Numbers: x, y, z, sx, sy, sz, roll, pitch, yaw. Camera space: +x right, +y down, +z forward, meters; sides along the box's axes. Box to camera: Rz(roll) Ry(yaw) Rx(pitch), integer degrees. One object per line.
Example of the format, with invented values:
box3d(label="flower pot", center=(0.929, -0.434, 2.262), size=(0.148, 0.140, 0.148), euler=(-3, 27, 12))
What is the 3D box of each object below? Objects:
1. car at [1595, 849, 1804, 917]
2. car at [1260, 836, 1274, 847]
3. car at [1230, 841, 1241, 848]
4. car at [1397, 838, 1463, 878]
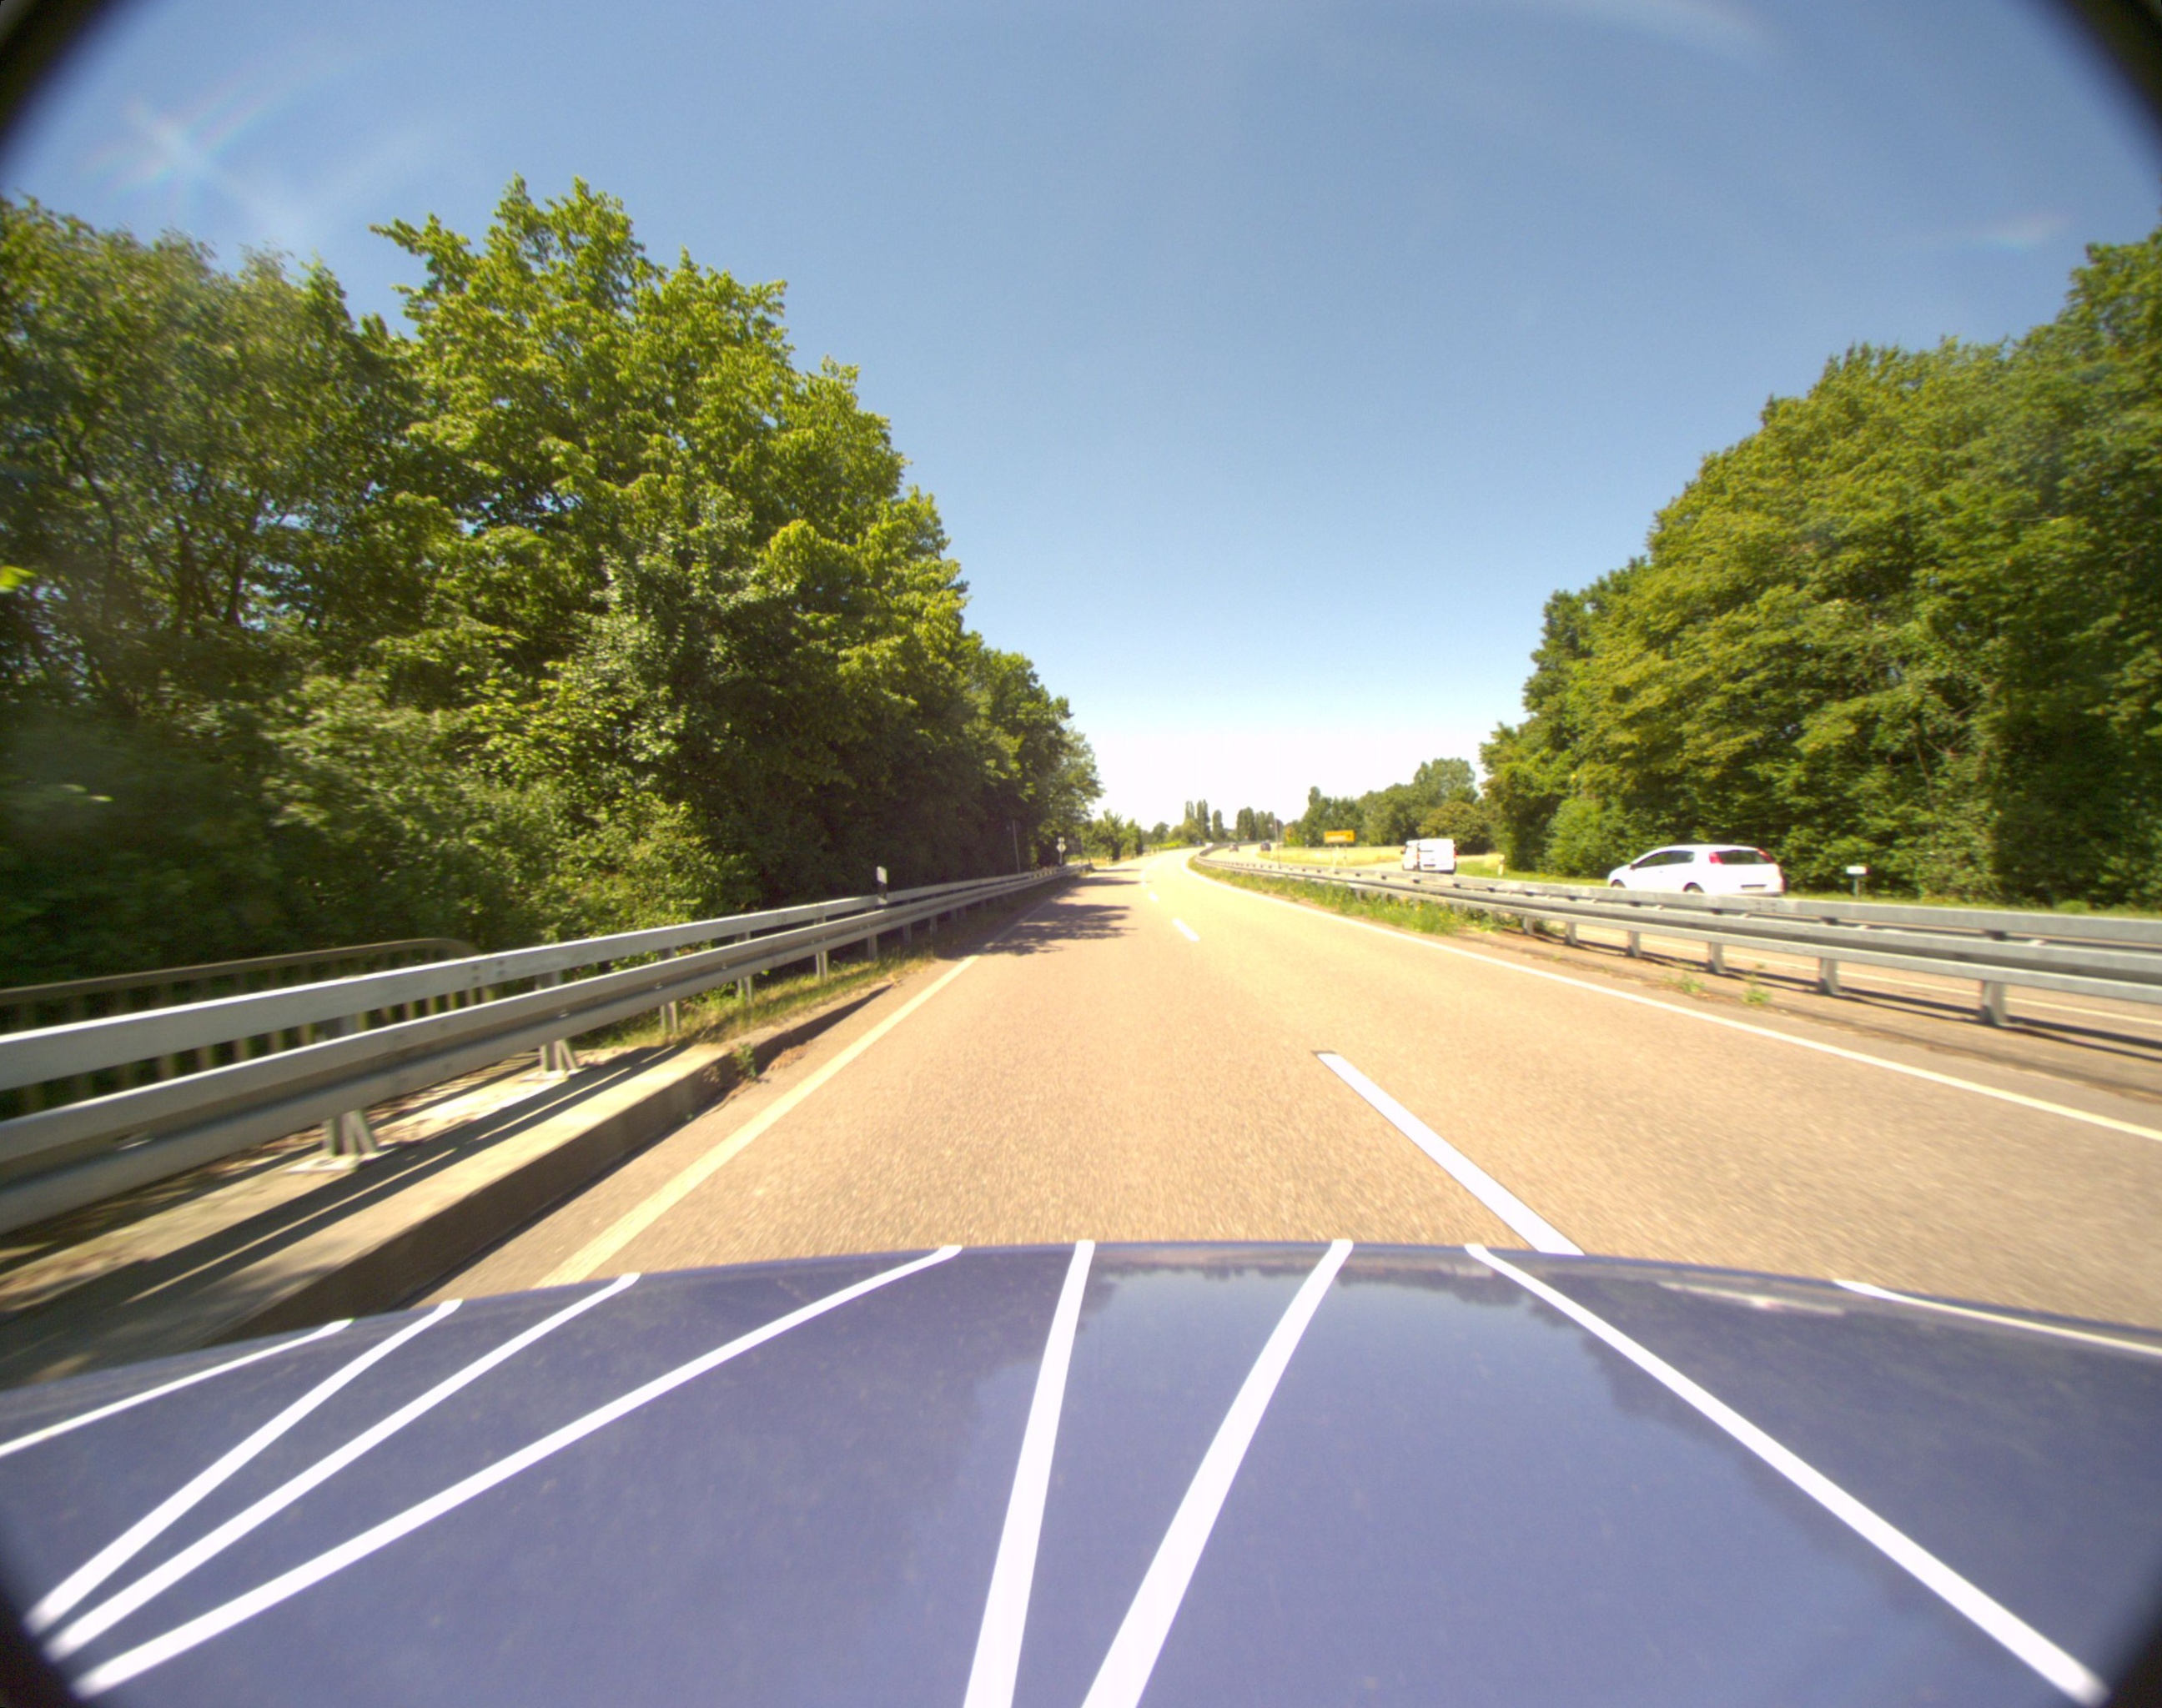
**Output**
box3d(label="car", center=(14.652, 0.616, 18.348), size=(1.655, 1.439, 4.219), euler=(-1, 0, 1))
box3d(label="car", center=(38.549, -2.595, 157.383), size=(1.998, 2.002, 4.000), euler=(-4, 1, 2))
box3d(label="car", center=(32.773, -1.991, 160.712), size=(1.826, 1.608, 4.546), euler=(-1, 0, 18))
box3d(label="car", center=(18.405, 0.195, 40.382), size=(1.992, 1.940, 5.645), euler=(-1, 0, 12))
